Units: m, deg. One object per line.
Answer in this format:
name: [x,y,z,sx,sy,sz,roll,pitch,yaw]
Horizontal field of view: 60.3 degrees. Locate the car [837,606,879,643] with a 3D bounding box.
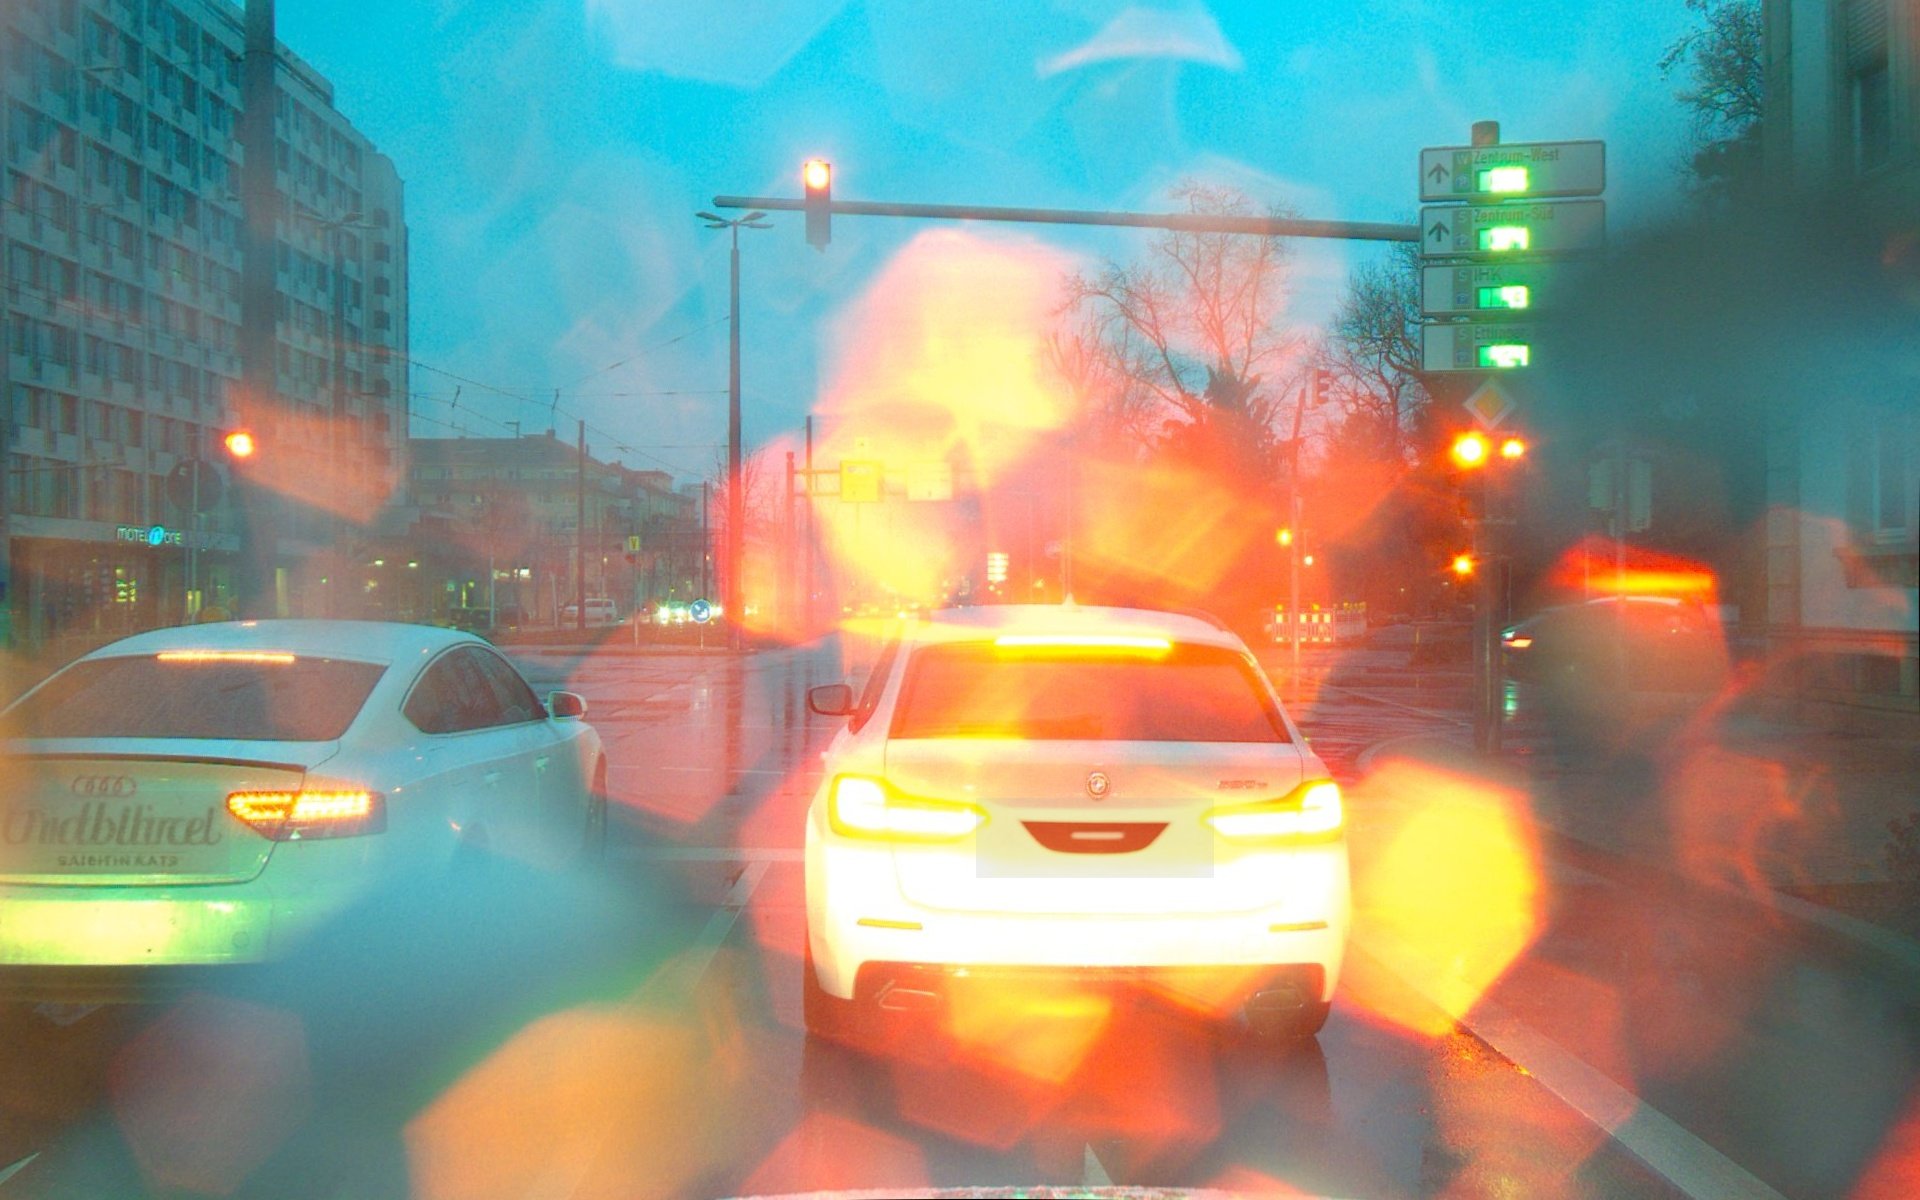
car: [-4.820,1.162,78.460,1.806,1.637,3.943,1,-1,-2]

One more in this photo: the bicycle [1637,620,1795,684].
bicycle: [14.148,0.964,31.044,2.611,1.108,0.815,1,-1,19]

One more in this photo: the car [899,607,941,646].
car: [-1.793,1.157,73.599,1.806,1.637,3.943,1,-1,-2]

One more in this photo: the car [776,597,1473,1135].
car: [0.373,0.739,6.813,1.954,1.481,4.366,0,0,-3]

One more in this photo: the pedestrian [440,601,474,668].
pedestrian: [-13.419,0.922,44.131,0.777,1.741,0.809,2,-1,-16]

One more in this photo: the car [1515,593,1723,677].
car: [13.538,0.704,34.127,3.874,1.581,1.749,1,-1,21]

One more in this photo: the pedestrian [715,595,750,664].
pedestrian: [-6.385,0.822,46.442,0.886,1.888,0.810,2,-1,-11]

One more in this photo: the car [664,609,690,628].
car: [-24.156,1.574,141.431,1.641,1.534,3.695,1,-1,-1]

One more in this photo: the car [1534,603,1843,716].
car: [11.144,0.883,25.605,4.223,1.557,1.763,1,-1,20]

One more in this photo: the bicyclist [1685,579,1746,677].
bicyclist: [14.169,0.527,31.042,0.952,1.789,0.813,1,-1,19]

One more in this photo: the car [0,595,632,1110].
car: [-2.709,0.730,6.985,1.954,1.481,4.366,0,0,-3]
